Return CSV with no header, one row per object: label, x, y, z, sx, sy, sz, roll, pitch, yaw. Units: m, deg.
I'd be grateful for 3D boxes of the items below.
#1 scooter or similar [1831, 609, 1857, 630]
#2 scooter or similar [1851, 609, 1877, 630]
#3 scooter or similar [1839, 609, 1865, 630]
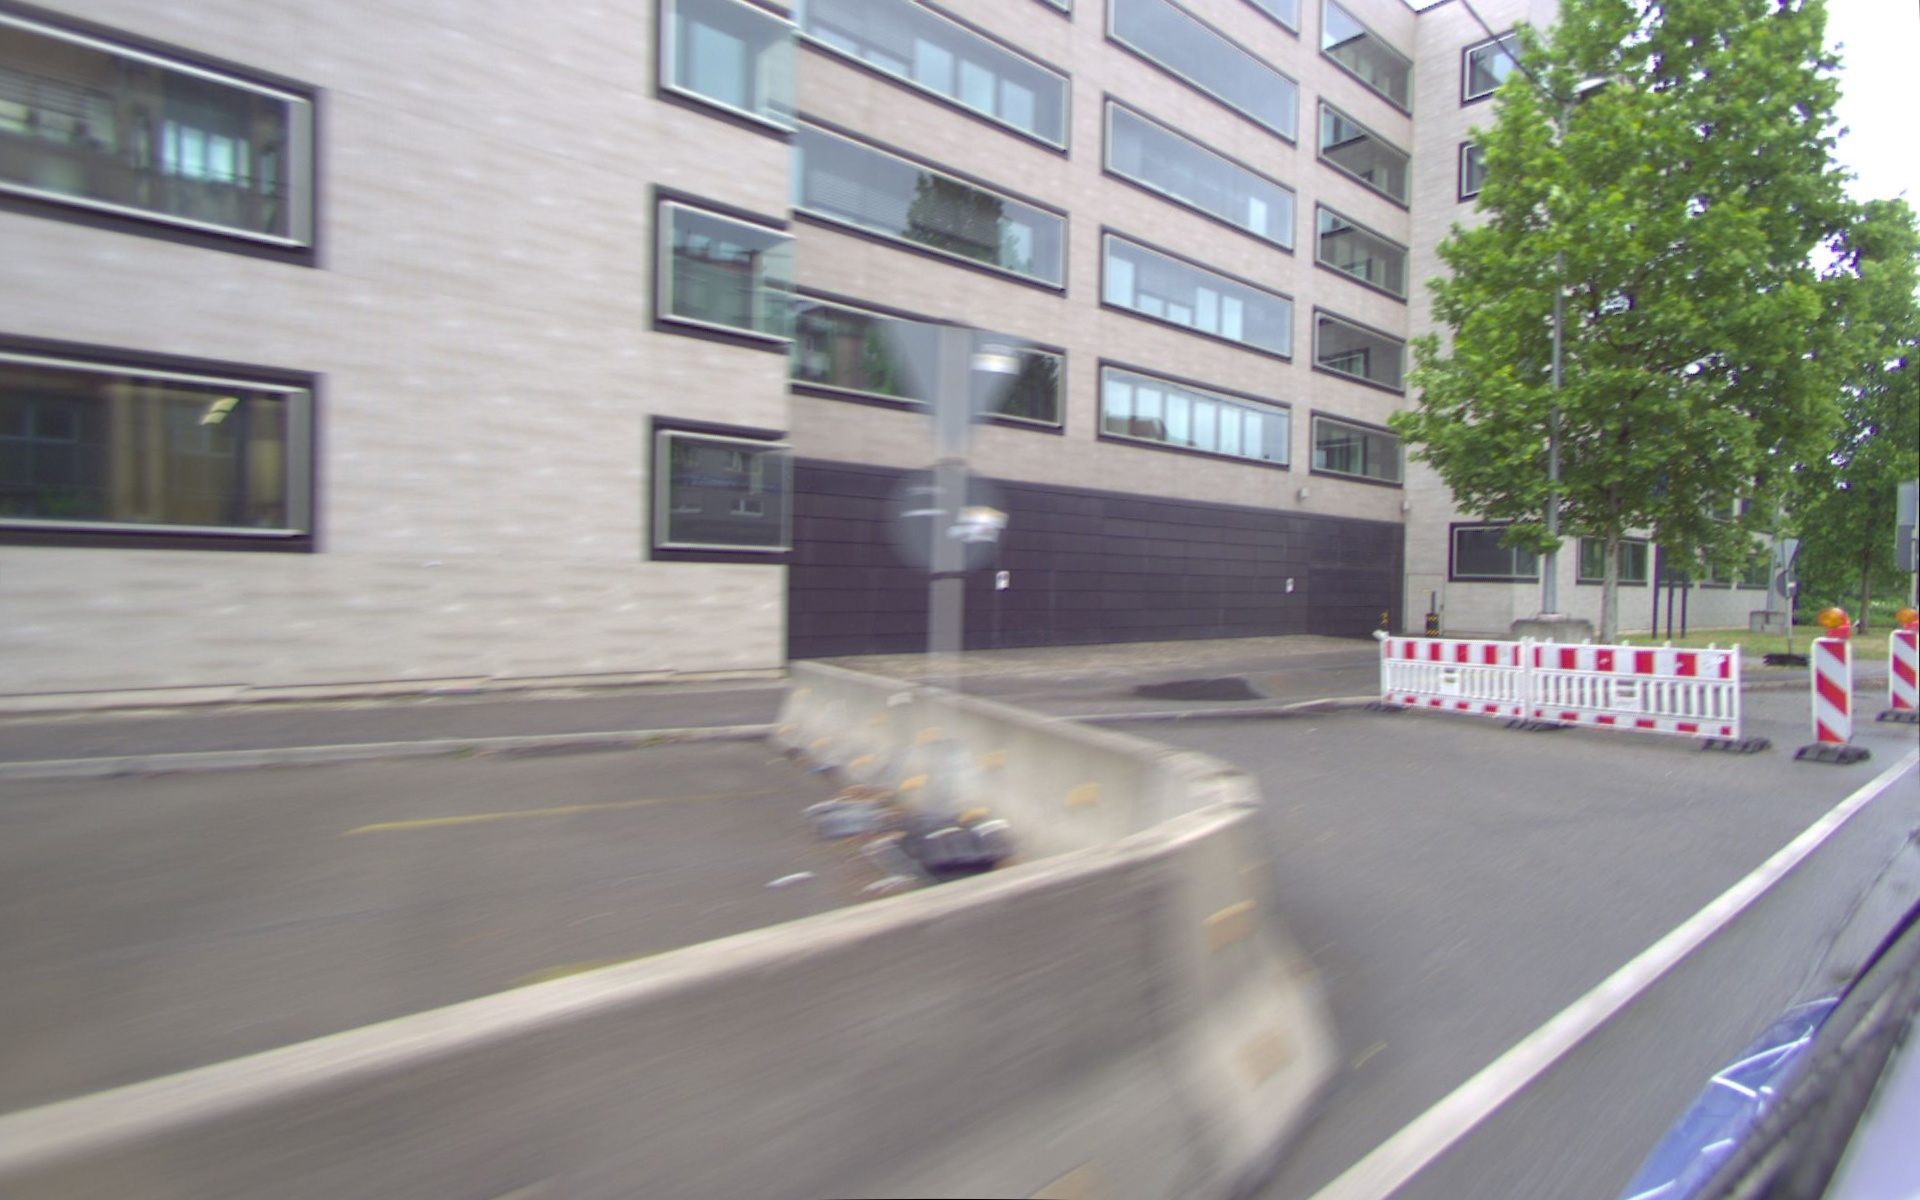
scooter or similar,60.193,1.327,68.891,0.464,1.329,1.239,1,2,-44
scooter or similar,60.177,1.296,67.360,0.545,1.329,1.239,1,2,-44
scooter or similar,60.103,1.290,68.218,0.464,1.329,1.239,1,2,-44
